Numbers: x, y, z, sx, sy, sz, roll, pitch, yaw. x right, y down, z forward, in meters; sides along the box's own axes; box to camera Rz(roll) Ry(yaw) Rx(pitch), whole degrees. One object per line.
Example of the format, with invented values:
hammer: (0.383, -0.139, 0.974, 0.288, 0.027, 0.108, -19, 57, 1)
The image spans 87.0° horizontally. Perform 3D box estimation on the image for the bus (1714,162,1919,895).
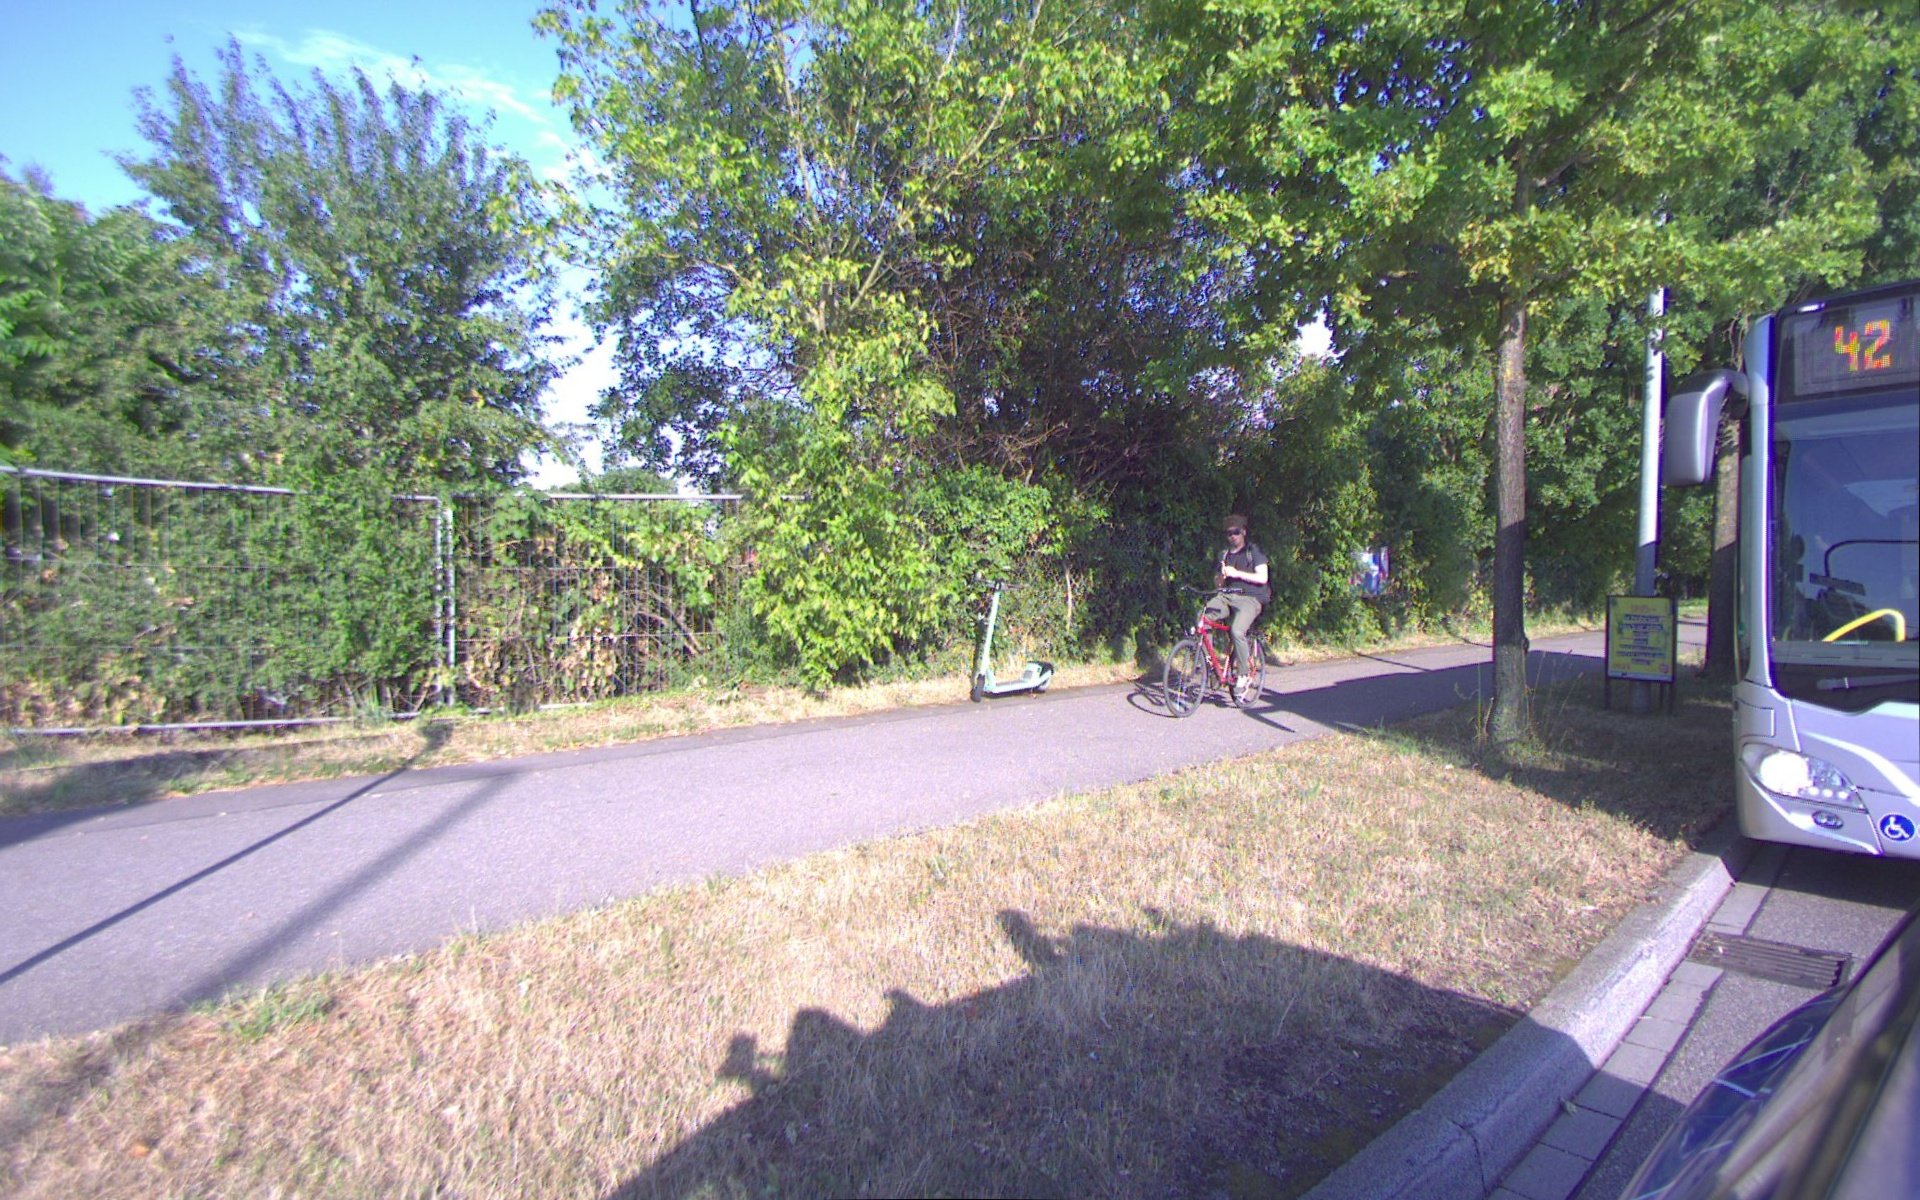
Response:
bus: (8.416, -0.329, 8.035, 2.588, 3.081, 11.536, 1, 1, 43)

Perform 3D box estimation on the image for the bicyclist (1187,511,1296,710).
bicyclist: (2.749, 0.075, 9.873, 0.816, 1.852, 0.620, -1, 4, -43)

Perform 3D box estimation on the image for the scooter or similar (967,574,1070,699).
scooter or similar: (0.577, 0.336, 9.798, 1.076, 1.139, 0.249, 0, 4, -41)

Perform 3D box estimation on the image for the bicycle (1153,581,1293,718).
bicycle: (2.519, 0.429, 9.554, 0.415, 1.172, 1.861, 3, 2, 43)
